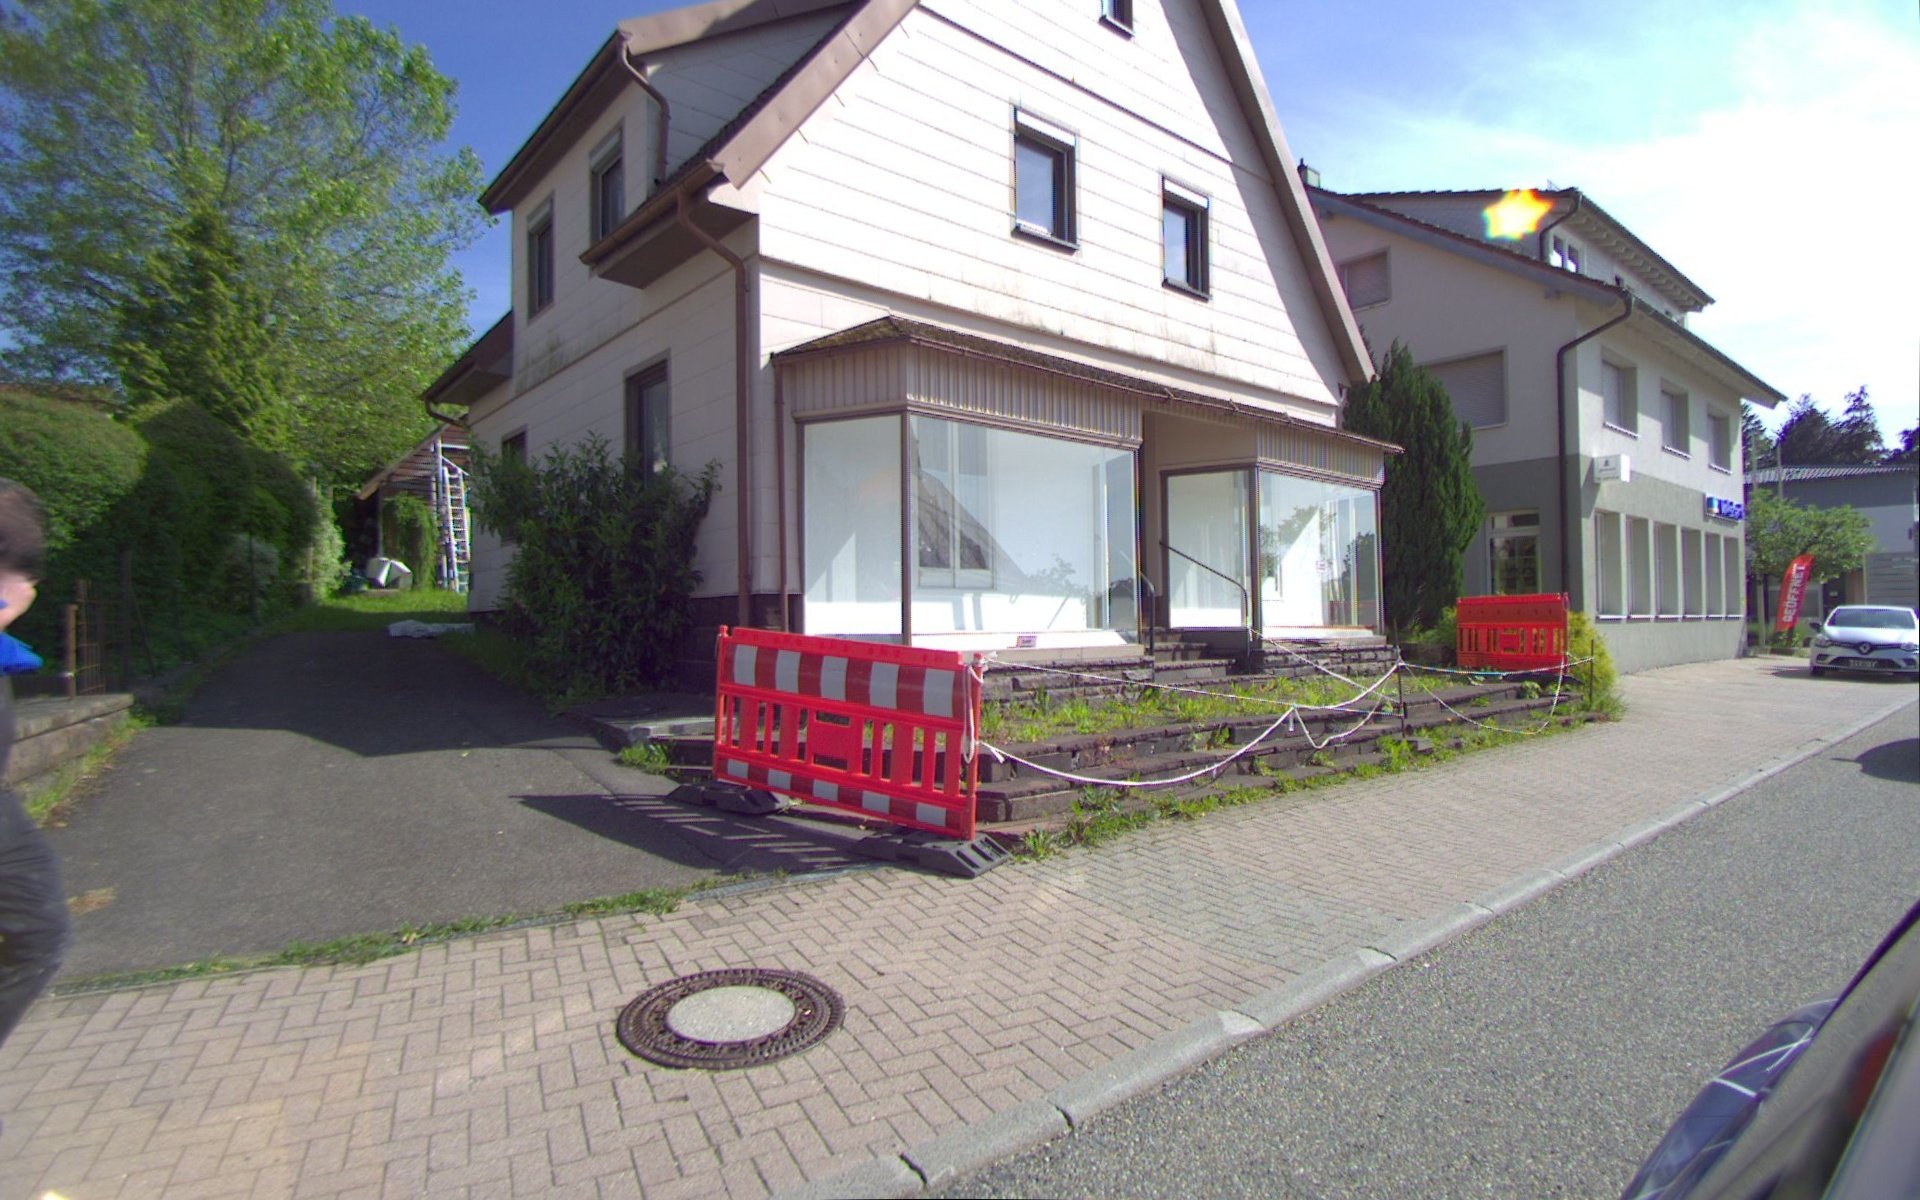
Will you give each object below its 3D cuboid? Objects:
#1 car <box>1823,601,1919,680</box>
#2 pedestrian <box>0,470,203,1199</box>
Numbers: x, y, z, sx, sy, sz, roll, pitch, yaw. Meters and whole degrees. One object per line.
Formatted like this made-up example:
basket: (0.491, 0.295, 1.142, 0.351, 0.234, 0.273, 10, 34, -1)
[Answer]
car: (18.599, 0.745, 20.374, 1.635, 1.438, 3.872, 1, 0, 44)
pedestrian: (-2.557, 0.598, 2.578, 0.961, 1.807, 0.802, 1, 0, -36)
